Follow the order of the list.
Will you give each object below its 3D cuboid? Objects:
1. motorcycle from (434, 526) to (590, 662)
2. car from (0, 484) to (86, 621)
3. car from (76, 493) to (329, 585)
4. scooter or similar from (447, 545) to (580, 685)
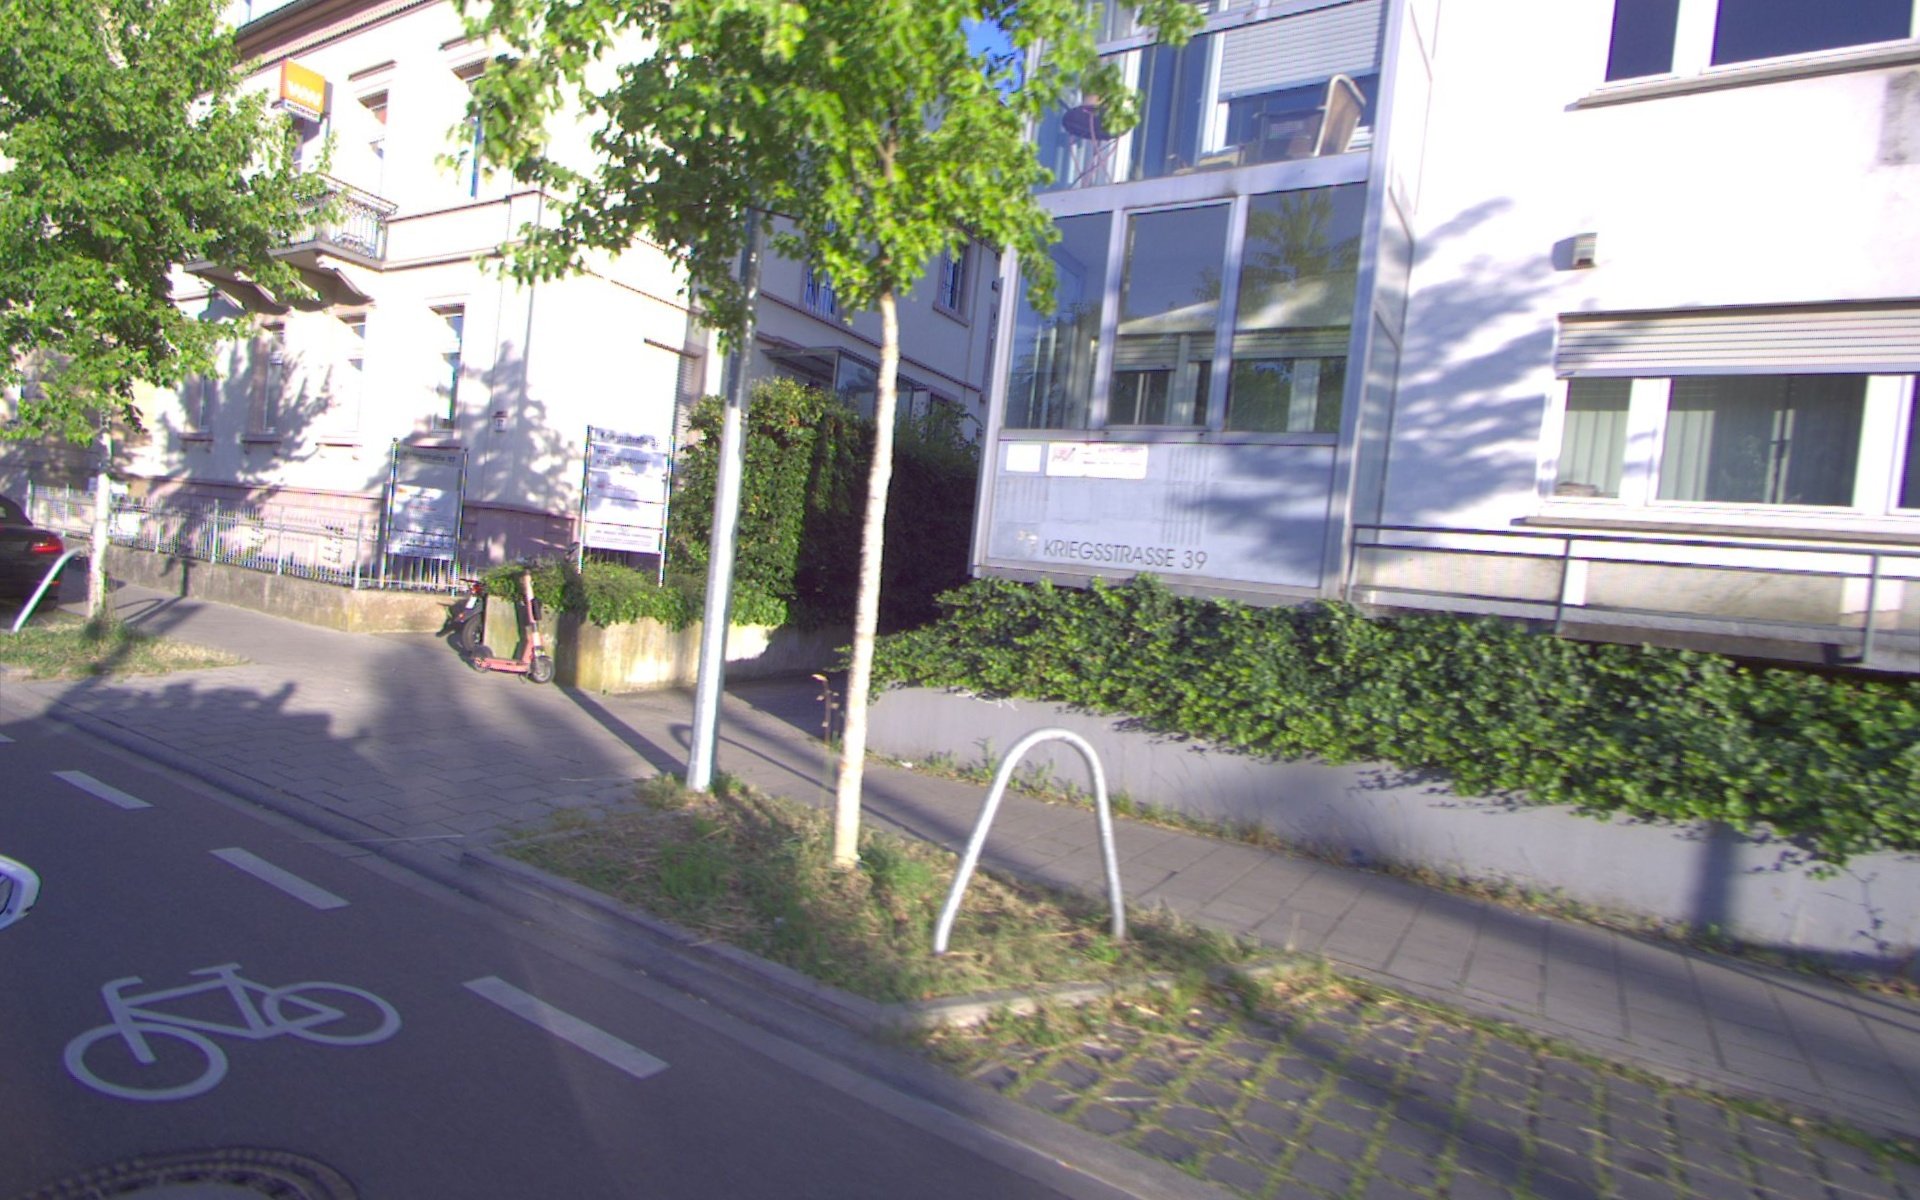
[{"bbox_3d":[-5.178,-0.053,11.717,0.615,1.432,1.497,8,3,28],"label":"motorcycle"},{"bbox_3d":[-12.685,-0.736,12.186,4.369,1.491,1.793,7,4,29],"label":"car"},{"bbox_3d":[-17.190,-1.340,23.008,1.886,1.591,4.193,7,2,34],"label":"car"},{"bbox_3d":[-4.509,0.147,10.146,1.188,1.274,0.491,6,0,29],"label":"scooter or similar"}]
